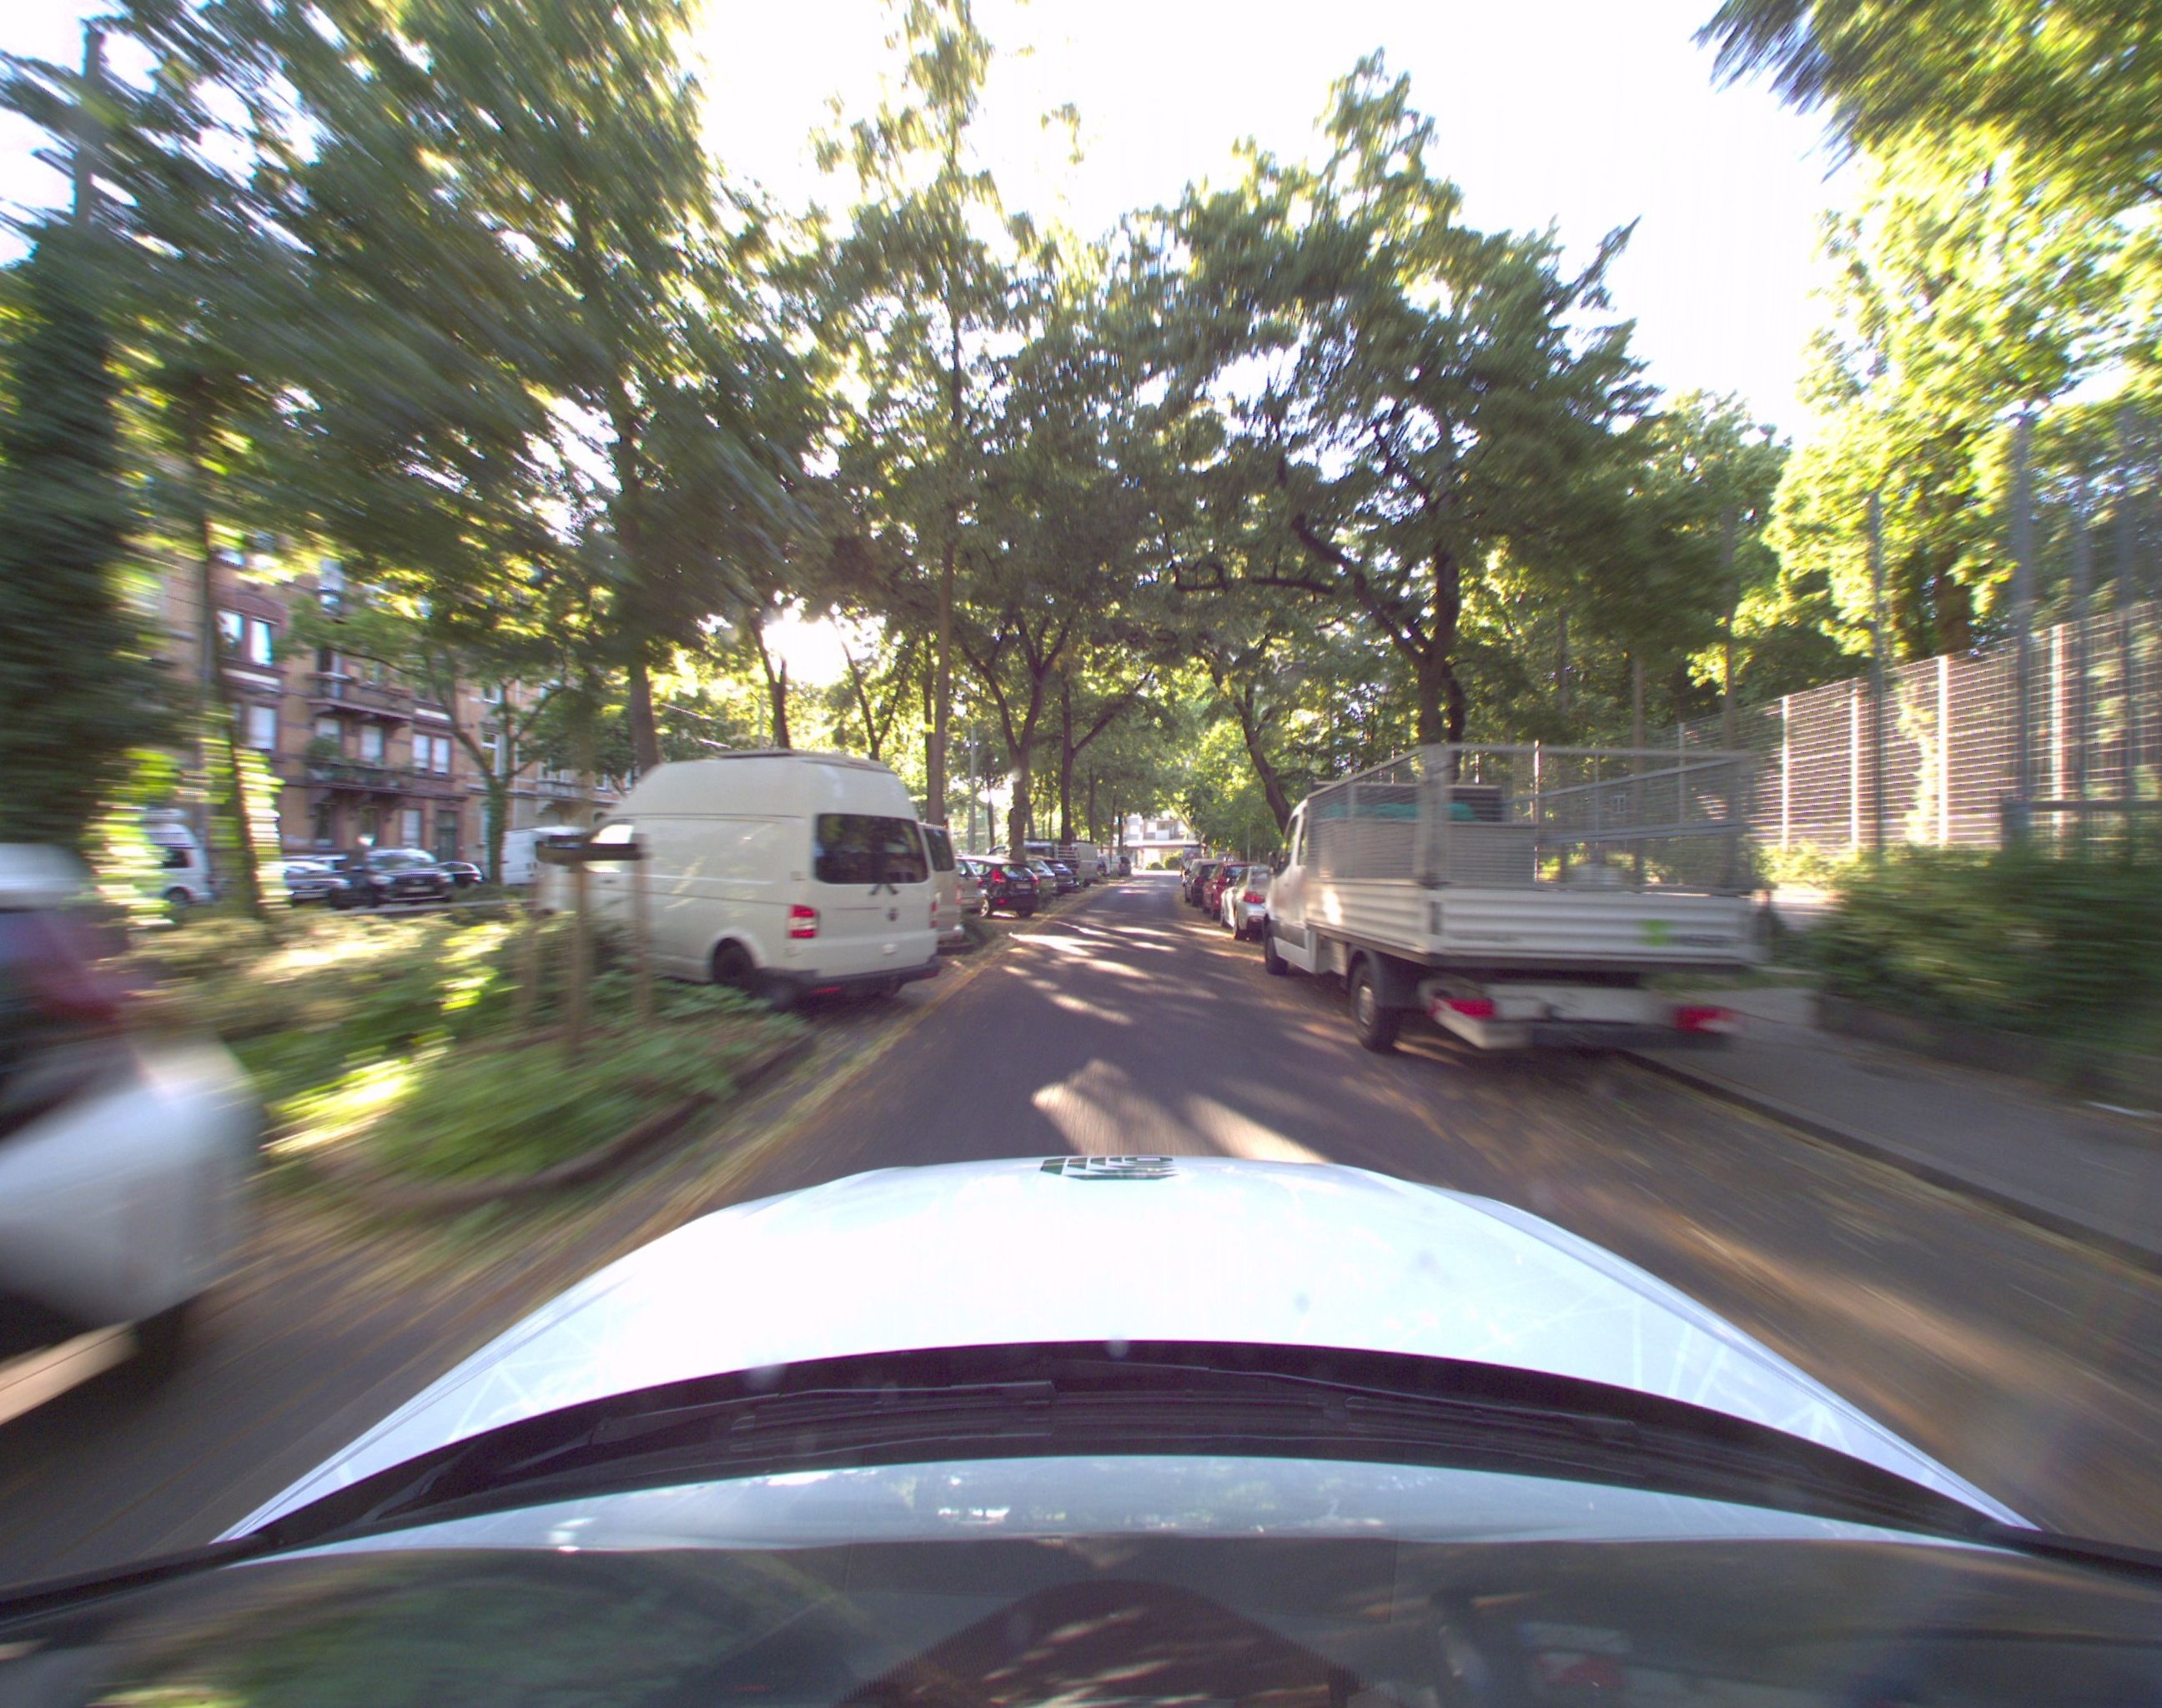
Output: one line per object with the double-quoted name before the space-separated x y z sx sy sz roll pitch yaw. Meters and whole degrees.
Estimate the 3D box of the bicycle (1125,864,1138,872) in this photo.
"bicycle" 6.999 1.953 112.583 0.643 1.022 2.067 0 -1 -32

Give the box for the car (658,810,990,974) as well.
"car" -3.924 0.428 12.134 4.824 1.978 2.058 2 -1 34

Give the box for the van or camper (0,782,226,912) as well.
"van or camper" -26.895 -0.158 21.733 2.065 3.109 5.519 0 -1 4

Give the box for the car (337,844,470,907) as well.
"car" -18.626 0.567 22.338 4.268 1.582 1.919 -1 -1 38

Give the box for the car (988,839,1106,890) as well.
"car" -1.701 0.479 39.386 5.444 2.137 2.094 3 -1 35

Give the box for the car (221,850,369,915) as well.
"car" -19.115 0.710 19.744 4.268 1.385 1.919 -4 -2 37

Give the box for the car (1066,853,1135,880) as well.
"car" 1.484 0.988 63.355 4.938 1.781 2.000 3 -1 33

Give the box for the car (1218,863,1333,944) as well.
"car" 3.794 0.891 16.540 1.664 1.397 4.305 0 -1 5

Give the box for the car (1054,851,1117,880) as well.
"car" 0.277 0.818 57.435 4.108 1.781 1.895 3 -1 42

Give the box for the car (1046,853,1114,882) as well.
"car" -0.075 0.888 54.224 4.107 1.644 1.927 3 -1 37

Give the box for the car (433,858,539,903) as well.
"car" -25.981 1.118 35.725 1.843 1.782 3.511 3 0 3

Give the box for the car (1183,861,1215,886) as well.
"car" 6.904 1.113 48.038 1.672 1.424 4.666 0 -1 6

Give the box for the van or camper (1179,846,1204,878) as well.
"van or camper" 9.881 0.707 73.345 2.073 2.762 5.855 0 -1 7

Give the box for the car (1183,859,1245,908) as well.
"car" 4.273 0.913 26.656 1.665 1.454 3.953 0 -1 4

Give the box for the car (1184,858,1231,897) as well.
"car" 4.900 0.886 31.898 1.583 1.454 3.559 0 -1 5

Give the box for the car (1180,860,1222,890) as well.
"car" 6.148 1.048 42.057 1.674 1.454 4.077 0 -1 1

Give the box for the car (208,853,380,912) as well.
"car" -26.682 0.902 27.822 1.843 1.782 3.920 3 0 3

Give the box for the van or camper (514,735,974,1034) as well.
"van or camper" -3.768 0.190 8.856 4.824 2.470 2.057 2 -1 32

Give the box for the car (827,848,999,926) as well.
"car" -3.848 0.712 18.595 3.505 1.493 1.837 3 -1 34

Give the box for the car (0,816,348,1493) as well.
"car" -4.084 0.618 2.511 3.505 1.493 1.837 3 -1 34

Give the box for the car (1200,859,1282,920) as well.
"car" 4.114 0.861 21.483 1.665 1.454 3.953 0 -1 4

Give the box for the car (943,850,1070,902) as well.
"car" -2.551 0.732 27.550 4.041 1.488 1.795 3 -1 36

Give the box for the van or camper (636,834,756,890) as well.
"van or camper" -17.546 0.371 37.002 5.480 2.371 2.322 -1 -1 32

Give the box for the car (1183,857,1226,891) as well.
"car" 5.581 0.888 37.103 1.672 1.454 4.081 0 -1 5

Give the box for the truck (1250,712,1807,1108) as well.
"truck" 3.423 0.359 8.419 2.286 2.386 6.939 0 -1 3

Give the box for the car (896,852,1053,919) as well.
"car" -2.771 0.767 20.859 3.776 1.439 1.837 3 -1 39

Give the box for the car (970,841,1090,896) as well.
"car" -2.110 0.559 33.040 4.653 1.943 1.946 3 -1 38

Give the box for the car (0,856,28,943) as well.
"car" -19.105 0.754 13.430 3.948 1.381 1.815 -1 -1 33

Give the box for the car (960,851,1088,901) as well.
"car" -2.166 0.793 30.267 4.513 1.541 1.946 3 -1 38

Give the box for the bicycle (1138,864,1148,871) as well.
"bicycle" 8.397 1.825 110.812 0.545 0.904 1.720 0 -1 -28

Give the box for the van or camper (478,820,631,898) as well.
"van or camper" -18.186 0.209 28.042 5.605 2.468 2.012 -1 -1 29
